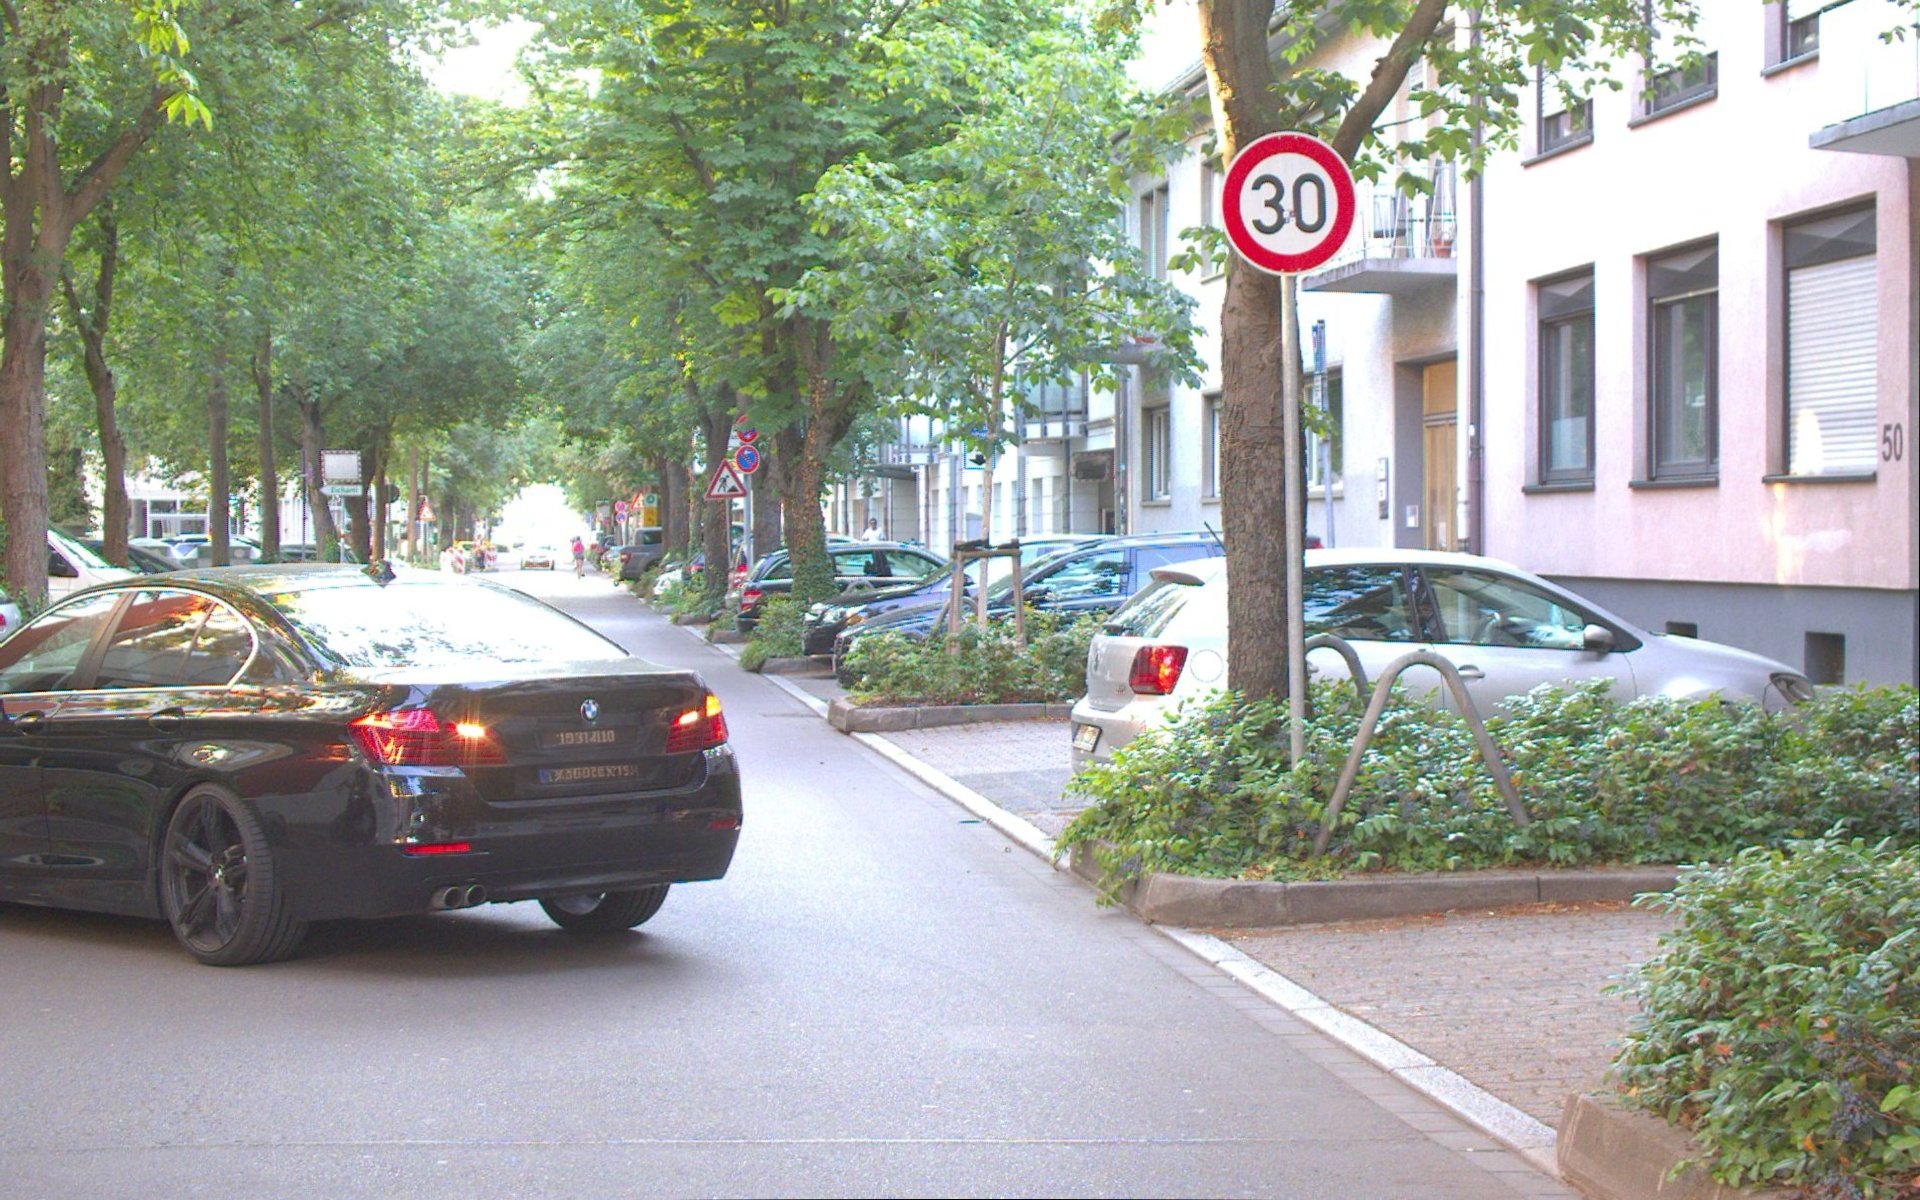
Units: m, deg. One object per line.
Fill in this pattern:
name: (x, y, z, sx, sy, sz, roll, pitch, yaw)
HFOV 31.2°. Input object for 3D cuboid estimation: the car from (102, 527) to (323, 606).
car: (-14.412, -0.657, 66.424, 4.020, 1.466, 1.640, 1, 1, -7)

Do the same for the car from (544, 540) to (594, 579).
car: (-15.836, -1.650, 139.206, 1.993, 1.546, 4.001, 0, 1, -7)

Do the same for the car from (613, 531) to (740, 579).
car: (-8.476, -1.357, 102.616, 3.656, 1.388, 1.566, 0, 1, -8)

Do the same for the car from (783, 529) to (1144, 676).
car: (0.017, 0.009, 38.133, 3.791, 1.524, 1.566, -1, 1, -8)

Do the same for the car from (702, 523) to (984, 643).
car: (-1.613, -0.249, 46.823, 3.656, 1.531, 1.566, -1, 1, -8)

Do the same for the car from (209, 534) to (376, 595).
car: (-16.896, -0.899, 87.177, 4.020, 1.466, 1.640, 1, 1, -7)

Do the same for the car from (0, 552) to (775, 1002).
car: (-2.935, 0.549, 13.574, 1.763, 1.445, 4.665, -1, 2, -44)

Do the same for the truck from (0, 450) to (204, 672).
truck: (-11.223, -0.482, 38.875, 4.998, 2.432, 1.916, 1, 2, -5)

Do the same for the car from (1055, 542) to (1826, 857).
car: (2.440, 0.471, 17.850, 3.656, 1.474, 1.566, -1, 1, -8)

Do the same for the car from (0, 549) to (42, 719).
car: (-10.374, 0.261, 30.459, 4.131, 1.466, 1.640, 1, 1, -7)

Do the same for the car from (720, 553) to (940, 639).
car: (-2.272, -0.078, 59.839, 3.656, 1.388, 1.566, -1, 1, -8)

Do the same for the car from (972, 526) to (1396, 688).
car: (2.049, 0.042, 31.892, 3.656, 1.388, 1.566, -1, 1, -8)

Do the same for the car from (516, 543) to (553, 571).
car: (-22.565, -2.303, 182.431, 1.894, 1.470, 4.001, 0, 1, -6)
